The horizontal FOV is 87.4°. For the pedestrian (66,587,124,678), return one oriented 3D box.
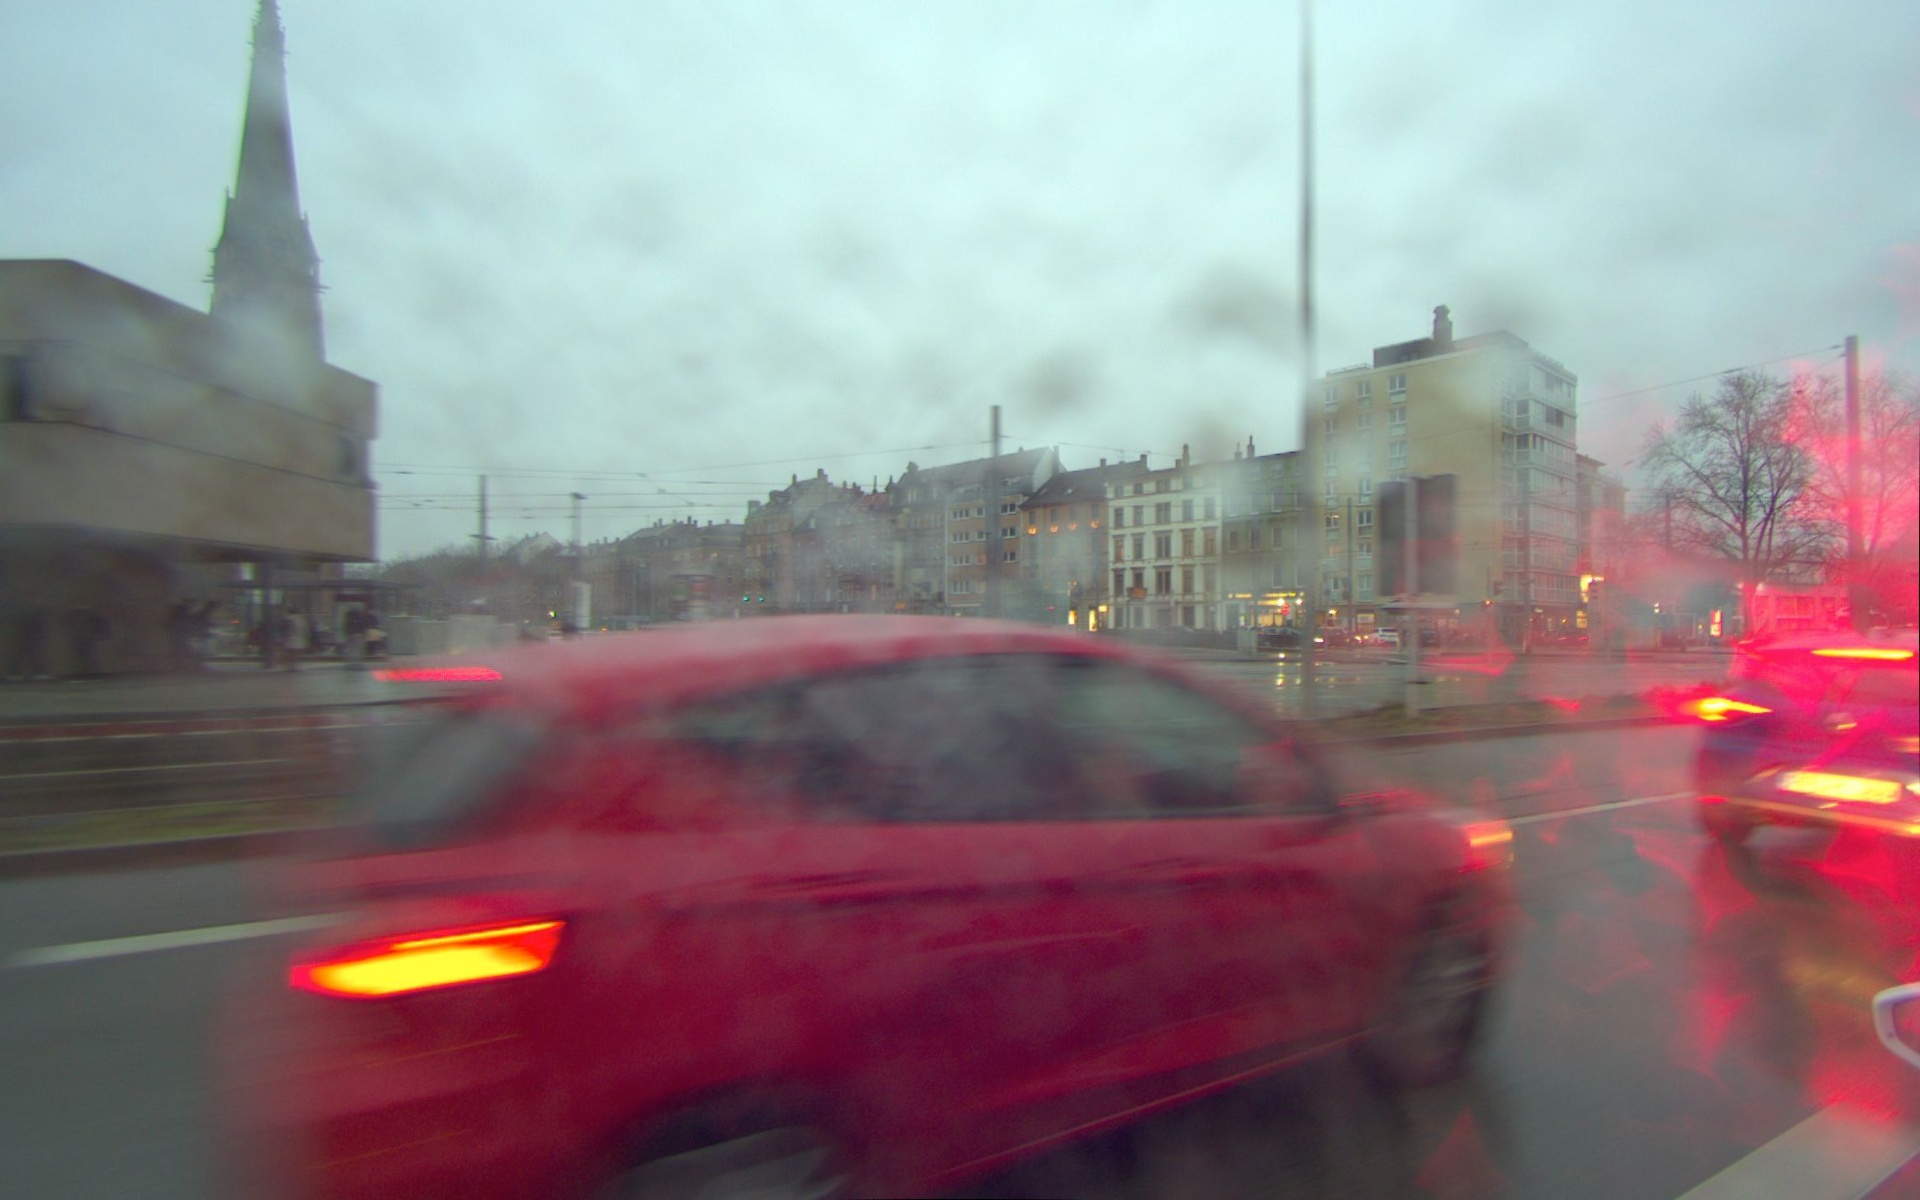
[{"bbox_3d":[-17.436,0.651,20.250,0.653,1.791,0.828,-2,-2,44],"label":"pedestrian"}]

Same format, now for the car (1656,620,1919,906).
[{"bbox_3d":[6.446,0.888,6.567,4.075,1.423,1.650,1,0,-32],"label":"car"}]

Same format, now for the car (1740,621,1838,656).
[{"bbox_3d":[44.392,2.056,53.795,3.944,1.795,1.989,-2,-3,43],"label":"car"}]

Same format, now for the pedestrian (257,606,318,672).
[{"bbox_3d":[-16.900,0.983,25.259,0.946,1.624,0.856,0,-2,1],"label":"pedestrian"}]

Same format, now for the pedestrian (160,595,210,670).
[{"bbox_3d":[-18.510,0.771,24.004,0.733,1.749,0.739,0,-2,-21],"label":"pedestrian"}]

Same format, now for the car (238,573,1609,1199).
[{"bbox_3d":[0.162,0.732,3.152,3.830,1.501,1.691,1,1,-33],"label":"car"}]

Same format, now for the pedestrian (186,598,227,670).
[{"bbox_3d":[-18.904,0.851,25.199,0.738,1.749,0.733,1,-2,-43],"label":"pedestrian"}]

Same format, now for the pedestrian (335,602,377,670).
[{"bbox_3d":[-16.040,0.949,26.672,0.790,1.774,0.758,-2,-2,44],"label":"pedestrian"}]

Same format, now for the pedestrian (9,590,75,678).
[{"bbox_3d":[-18.723,0.686,20.497,0.733,1.749,0.739,0,-2,-21],"label":"pedestrian"}]

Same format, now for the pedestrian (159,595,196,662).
[{"bbox_3d":[-20.860,0.752,26.776,0.737,1.749,0.735,1,-2,-37],"label":"pedestrian"}]

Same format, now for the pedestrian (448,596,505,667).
[{"bbox_3d":[-13.604,0.886,28.311,1.041,1.944,1.124,0,-2,1],"label":"pedestrian"}]
